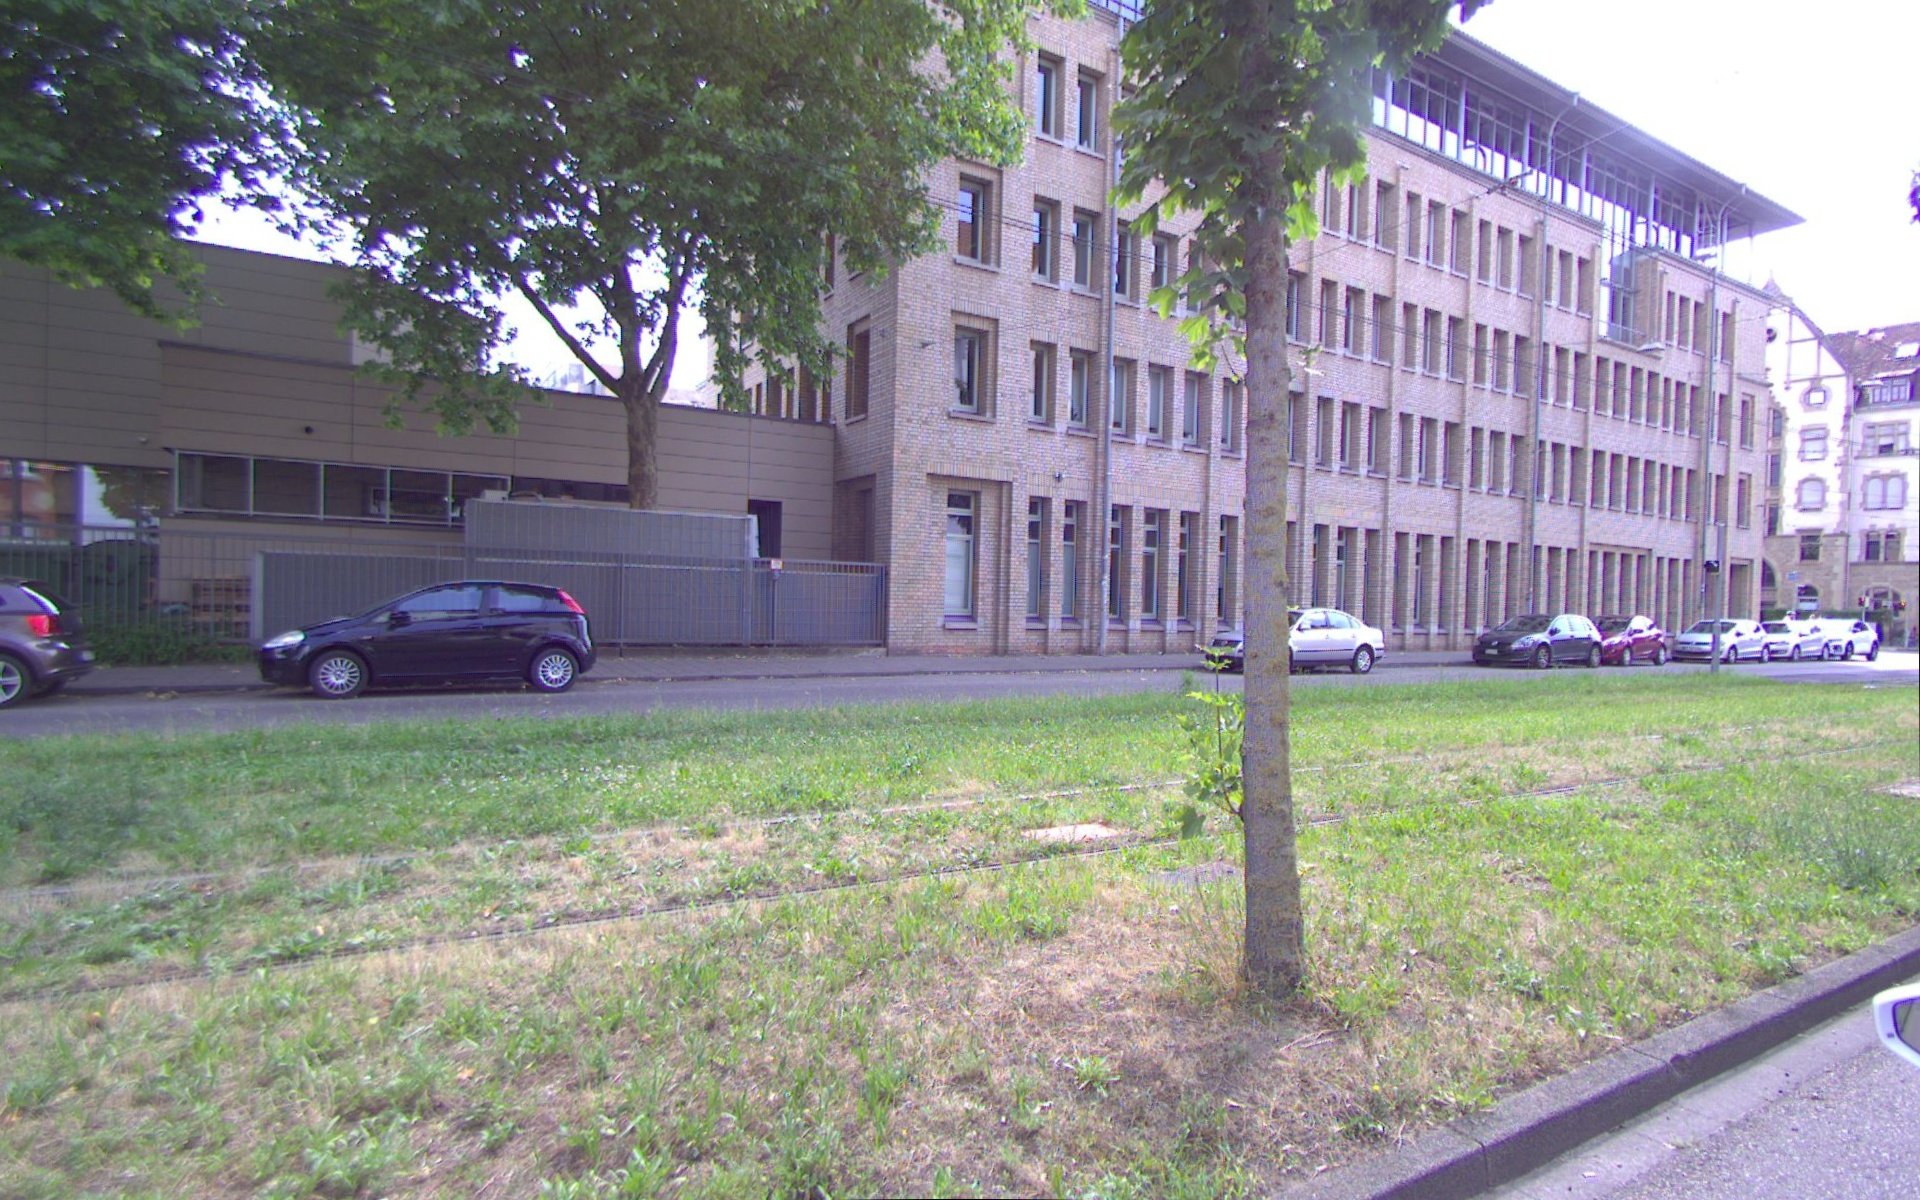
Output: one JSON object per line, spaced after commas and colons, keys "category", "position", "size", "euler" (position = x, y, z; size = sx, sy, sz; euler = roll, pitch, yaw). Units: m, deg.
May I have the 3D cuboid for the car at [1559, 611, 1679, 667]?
{"category": "car", "position": [19.688, 1.147, 29.996], "size": [3.507, 1.551, 1.575], "euler": [1, 0, -30]}

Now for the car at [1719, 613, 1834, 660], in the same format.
{"category": "car", "position": [29.464, 1.318, 36.219], "size": [3.967, 1.551, 1.924], "euler": [1, 0, -30]}

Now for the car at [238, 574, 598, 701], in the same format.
{"category": "car", "position": [-7.052, 0.468, 13.408], "size": [3.950, 1.472, 1.795], "euler": [1, 0, -28]}

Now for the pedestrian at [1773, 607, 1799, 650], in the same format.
{"category": "pedestrian", "position": [36.190, 1.232, 44.012], "size": [0.749, 1.819, 0.957], "euler": [2, 1, 34]}

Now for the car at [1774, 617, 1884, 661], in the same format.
{"category": "car", "position": [33.352, 1.490, 38.533], "size": [4.207, 1.555, 1.924], "euler": [1, 0, -30]}

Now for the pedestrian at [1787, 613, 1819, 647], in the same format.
{"category": "pedestrian", "position": [44.735, 1.566, 53.300], "size": [1.003, 1.745, 0.776], "euler": [2, 1, 15]}

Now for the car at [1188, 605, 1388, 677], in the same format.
{"category": "car", "position": [7.327, 0.890, 22.322], "size": [4.432, 1.415, 1.707], "euler": [1, 0, -30]}

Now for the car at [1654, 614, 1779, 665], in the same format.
{"category": "car", "position": [25.137, 1.289, 33.363], "size": [4.160, 1.551, 1.842], "euler": [1, 0, -30]}

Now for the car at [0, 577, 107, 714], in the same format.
{"category": "car", "position": [-11.690, 0.447, 10.602], "size": [3.857, 1.445, 1.546], "euler": [1, 0, -31]}

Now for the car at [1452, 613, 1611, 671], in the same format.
{"category": "car", "position": [15.649, 1.122, 27.476], "size": [4.189, 1.415, 1.924], "euler": [1, 0, -30]}
